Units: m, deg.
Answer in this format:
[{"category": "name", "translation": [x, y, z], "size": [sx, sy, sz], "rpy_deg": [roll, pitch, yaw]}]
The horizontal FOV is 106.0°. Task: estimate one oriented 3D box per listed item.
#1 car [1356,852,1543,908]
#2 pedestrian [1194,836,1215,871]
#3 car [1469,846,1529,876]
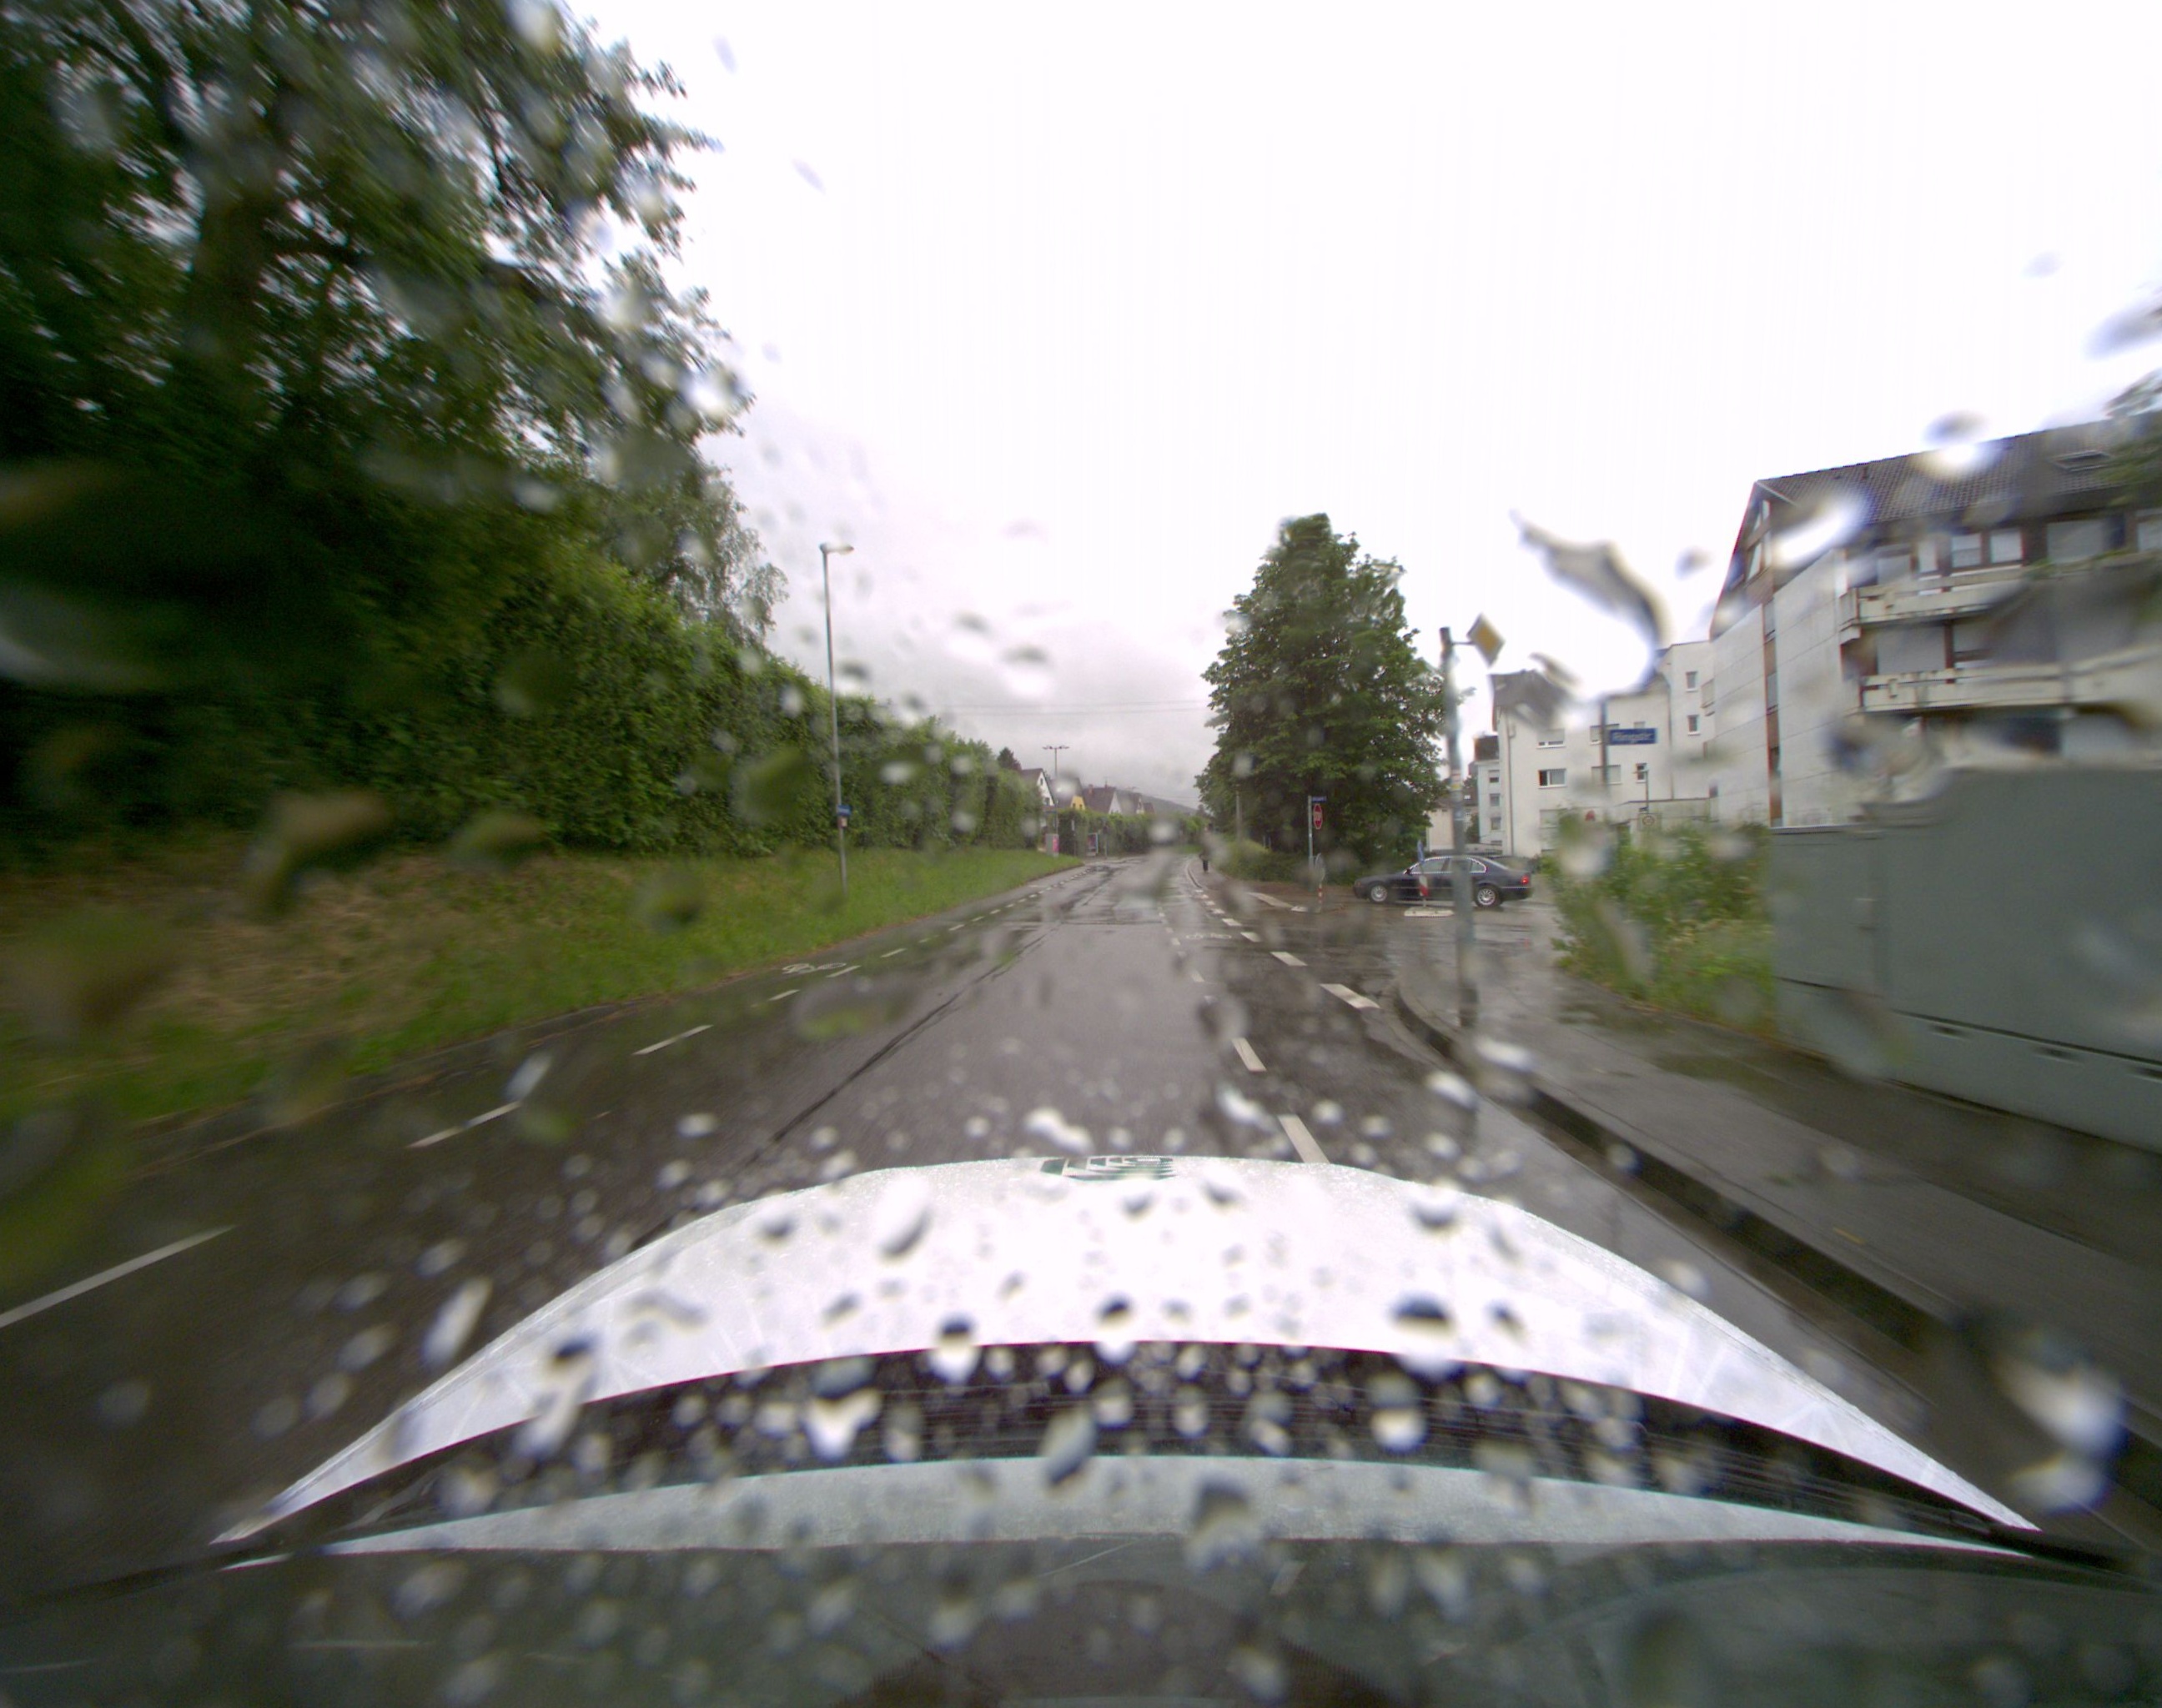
[{"category": "car", "translation": [10.229, 0.655, 22.694], "size": [4.556, 1.387, 1.959], "rpy_deg": [0, 1, 31]}, {"category": "pedestrian", "translation": [6.266, -0.034, 41.283], "size": [0.915, 1.675, 1.059], "rpy_deg": [-3, 1, 6]}, {"category": "car", "translation": [22.364, 0.339, 43.696], "size": [1.680, 1.438, 3.618], "rpy_deg": [-1, 1, 6]}]
